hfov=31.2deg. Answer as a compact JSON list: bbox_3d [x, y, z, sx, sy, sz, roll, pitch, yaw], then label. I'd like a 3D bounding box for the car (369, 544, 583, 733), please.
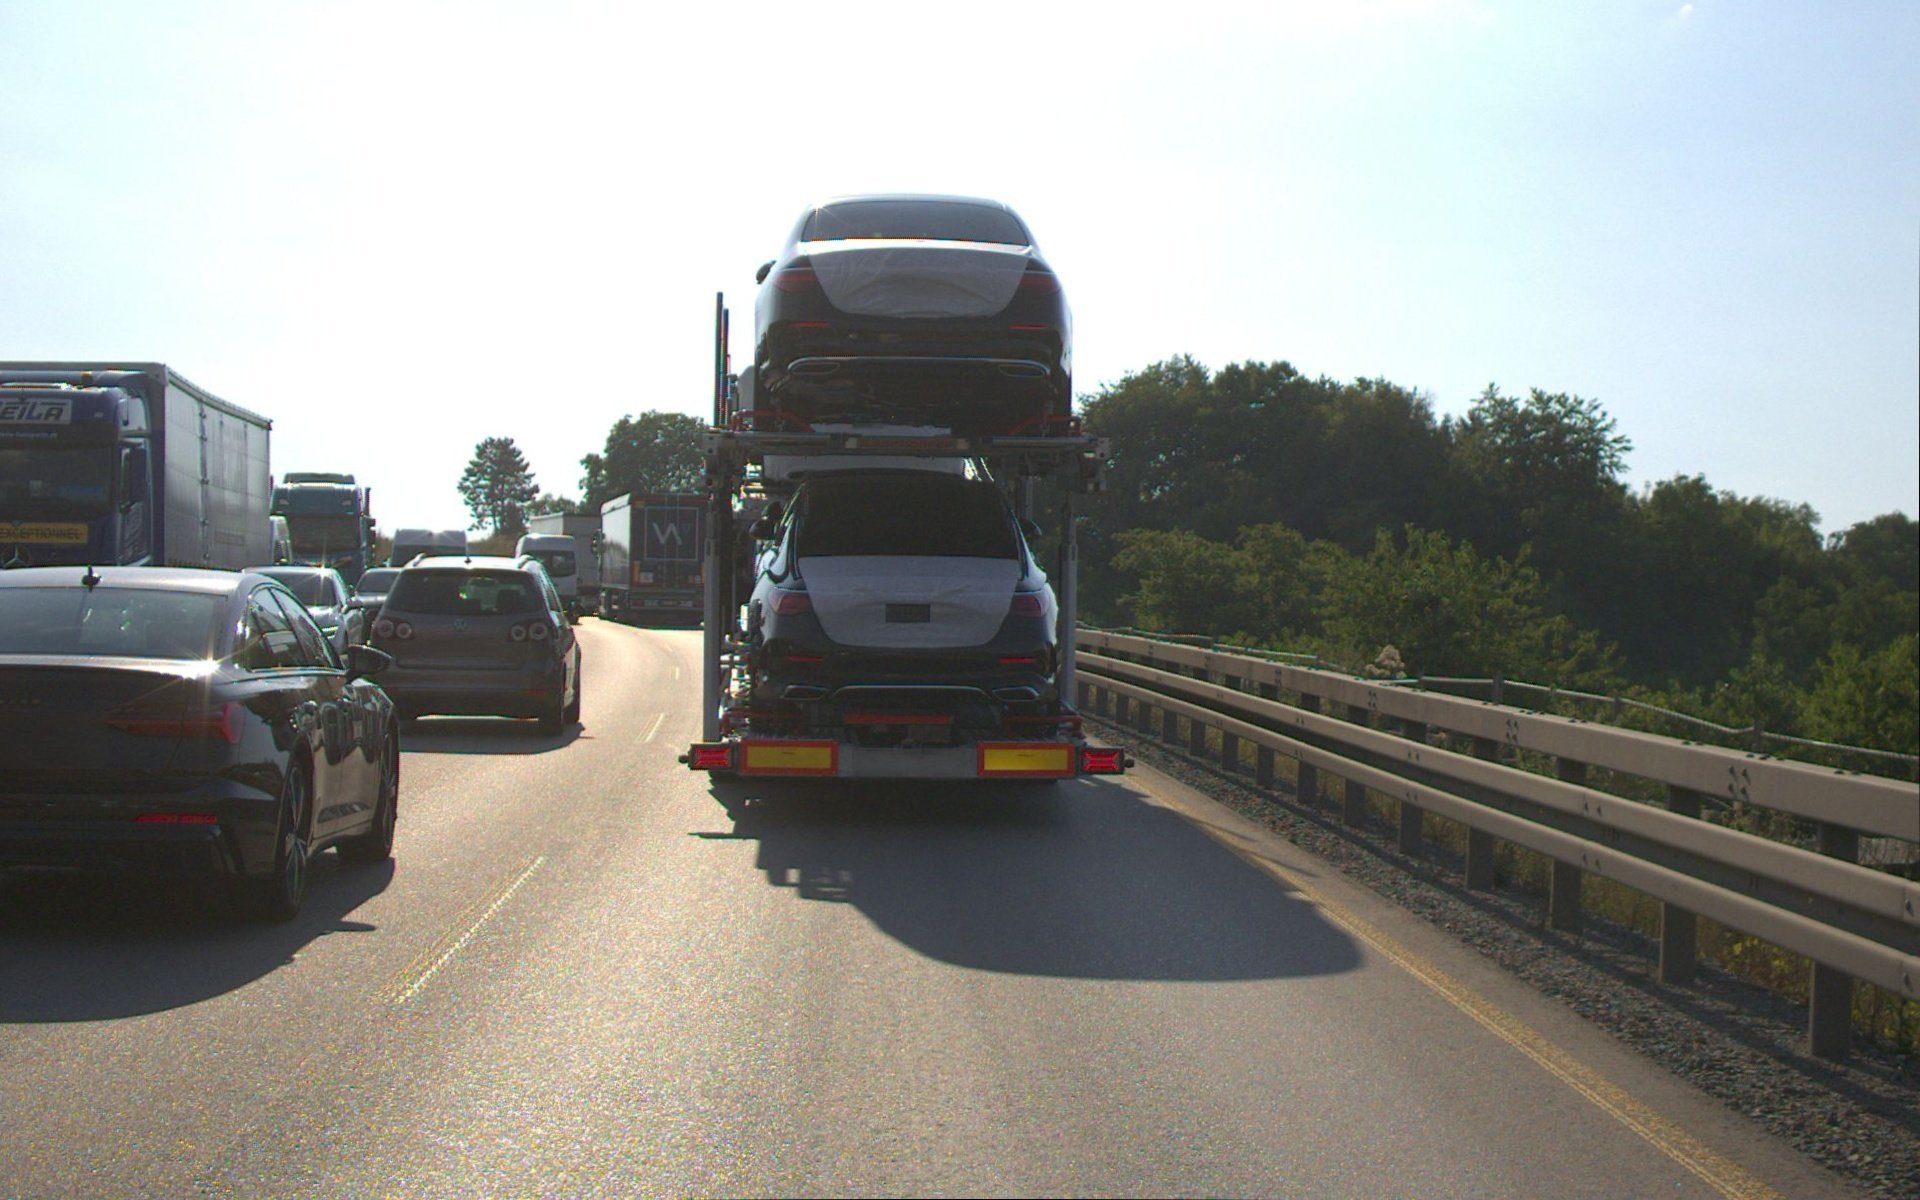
[{"bbox_3d":[-4.342,0.320,31.282,1.691,1.590,4.001,1,0,-5],"label":"car"}]

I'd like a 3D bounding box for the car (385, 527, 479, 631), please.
[{"bbox_3d":[-13.177,-0.519,86.151,2.056,2.492,6.777,1,0,-7],"label":"car"}]

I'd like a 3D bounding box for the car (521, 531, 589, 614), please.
[{"bbox_3d":[-12.526,-0.853,106.543,1.920,2.484,5.409,1,0,-5],"label":"car"}]

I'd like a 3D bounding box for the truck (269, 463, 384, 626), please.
[{"bbox_3d":[-16.300,-1.398,88.695,2.503,4.052,5.885,1,0,-7],"label":"truck"}]

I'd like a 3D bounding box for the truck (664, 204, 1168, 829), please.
[{"bbox_3d":[-0.540,-0.490,24.610,2.799,3.485,10.606,1,0,-3],"label":"truck"}]

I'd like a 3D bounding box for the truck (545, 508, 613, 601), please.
[{"bbox_3d":[-15.469,-1.799,139.956,2.530,3.635,8.907,1,0,-5],"label":"truck"}]

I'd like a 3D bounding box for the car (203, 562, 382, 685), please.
[{"bbox_3d":[-8.605,0.278,44.580,1.758,1.503,4.255,1,0,-4],"label":"car"}]

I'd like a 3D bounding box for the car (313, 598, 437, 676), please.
[{"bbox_3d":[-10.896,0.665,64.292,1.759,1.373,4.768,1,0,-3],"label":"car"}]

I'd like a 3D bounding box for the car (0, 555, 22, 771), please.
[{"bbox_3d":[-7.504,0.439,22.238,1.793,1.506,4.586,1,0,-3],"label":"car"}]

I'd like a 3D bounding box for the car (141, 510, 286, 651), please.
[{"bbox_3d":[-14.233,-0.373,65.808,2.157,2.549,5.590,1,0,-7],"label":"car"}]

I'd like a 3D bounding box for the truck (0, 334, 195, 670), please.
[{"bbox_3d":[-11.561,-1.199,44.400,2.503,4.052,5.666,1,0,-5],"label":"truck"}]

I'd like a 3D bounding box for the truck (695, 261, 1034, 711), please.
[{"bbox_3d":[-1.164,-0.983,34.115,2.837,3.779,9.988,1,0,-4],"label":"truck"}]

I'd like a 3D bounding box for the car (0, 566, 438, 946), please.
[{"bbox_3d":[-3.642,0.568,15.481,1.934,1.394,4.961,1,1,-1],"label":"car"}]

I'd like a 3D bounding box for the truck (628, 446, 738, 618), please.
[{"bbox_3d":[-8.909,-2.091,109.911,3.285,5.219,9.937,1,0,-5],"label":"truck"}]

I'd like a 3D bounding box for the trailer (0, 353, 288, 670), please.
[{"bbox_3d":[-12.138,-1.197,52.164,2.306,4.116,14.603,1,0,-5],"label":"trailer"}]

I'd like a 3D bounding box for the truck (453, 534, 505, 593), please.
[{"bbox_3d":[-26.393,-1.995,188.886,2.590,3.159,6.678,1,0,-6],"label":"truck"}]
